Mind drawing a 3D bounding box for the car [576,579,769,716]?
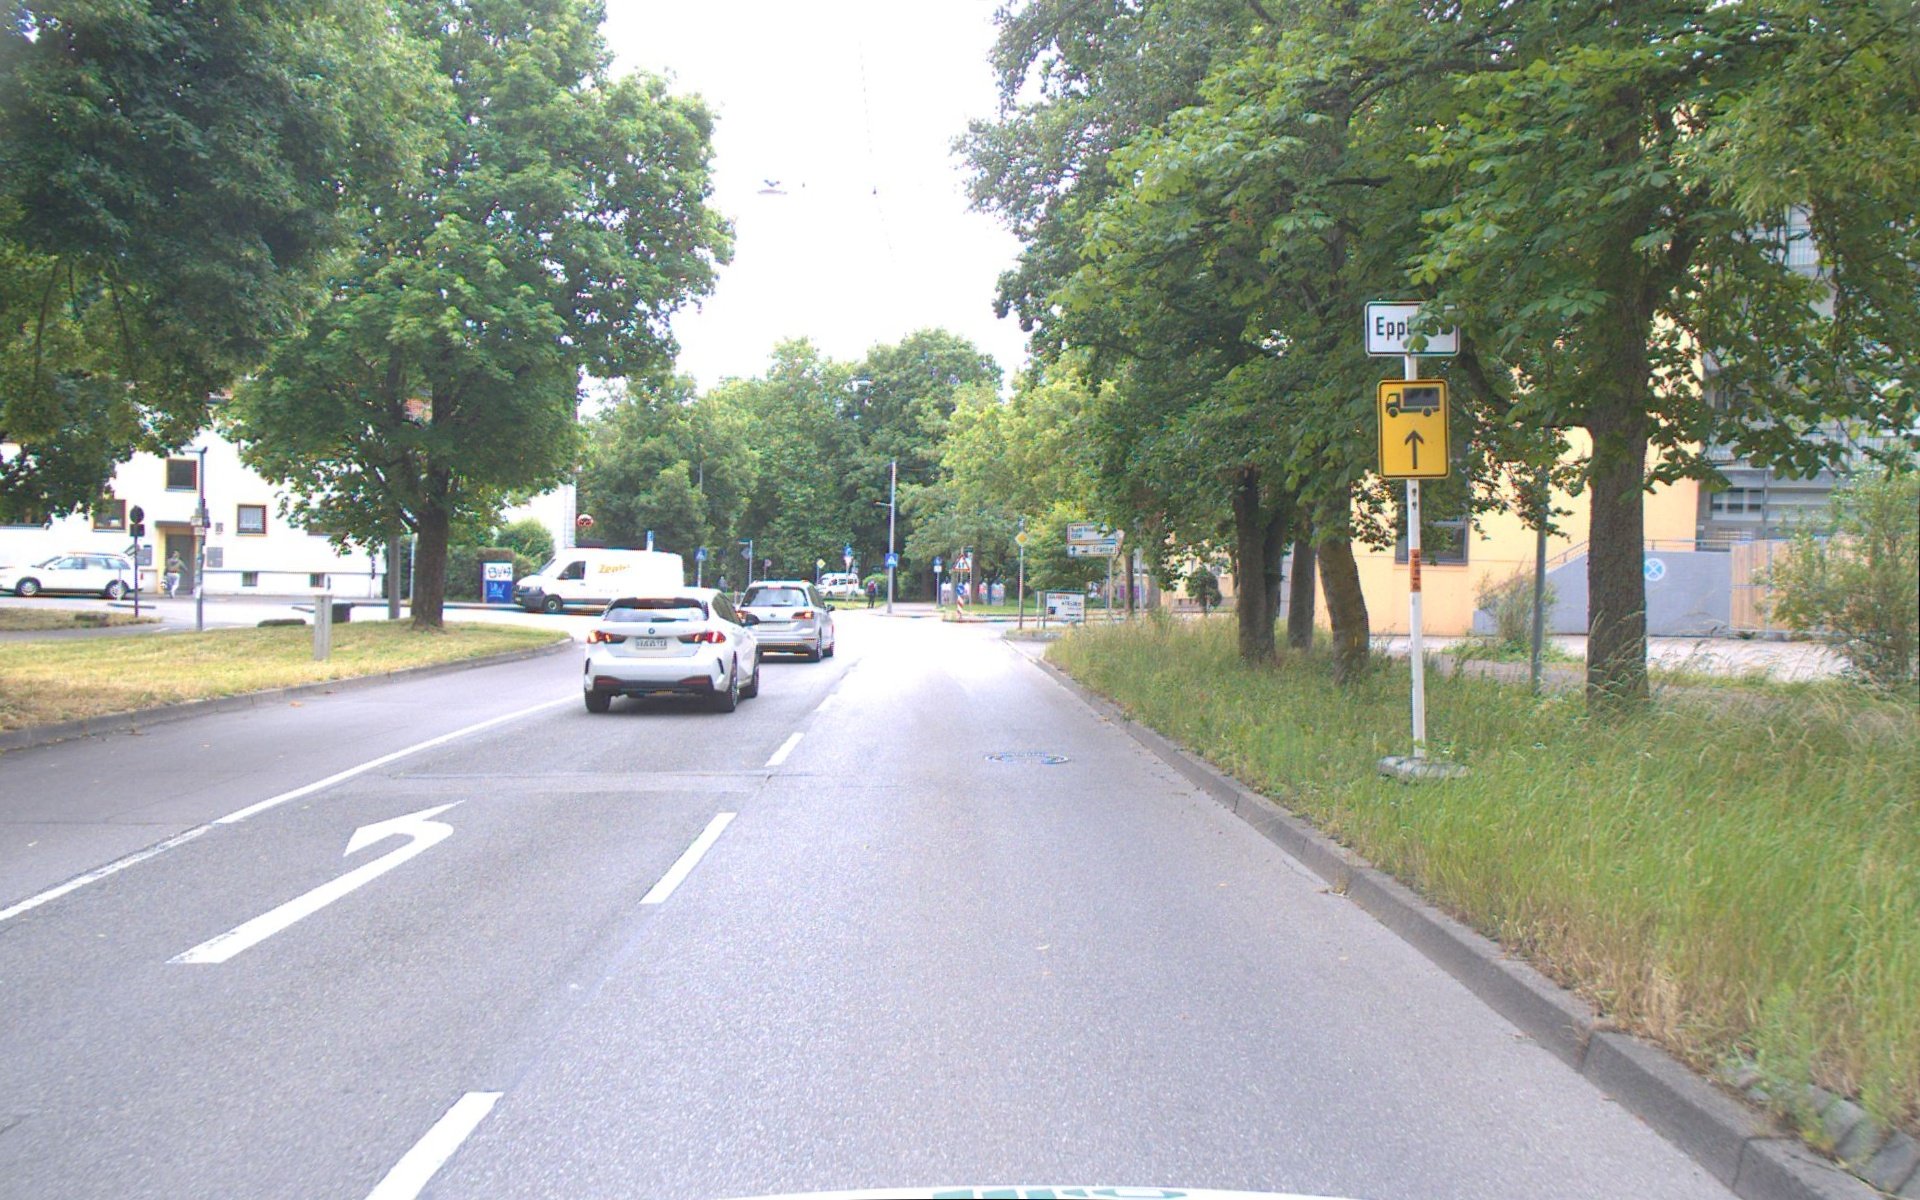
[{"bbox_3d":[-3.525,0.533,20.995,1.759,1.544,4.206,-1,0,-1],"label":"car"}]

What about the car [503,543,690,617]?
[{"bbox_3d":[-14.202,-0.755,64.968,6.910,2.565,2.057,2,2,-39],"label":"car"}]

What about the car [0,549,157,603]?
[{"bbox_3d":[-29.036,-0.786,54.513,4.278,1.464,1.697,3,2,-41],"label":"car"}]

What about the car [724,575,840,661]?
[{"bbox_3d":[-3.580,0.323,33.830,1.883,1.601,4.000,1,1,0],"label":"car"}]

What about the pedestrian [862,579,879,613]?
[{"bbox_3d":[-5.387,-0.248,99.459,0.905,1.903,1.018,-2,4,-5],"label":"pedestrian"}]

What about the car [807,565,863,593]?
[{"bbox_3d":[-11.820,-1.964,156.565,2.097,2.336,5.362,5,1,37],"label":"car"}]

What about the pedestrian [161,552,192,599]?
[{"bbox_3d":[-27.331,-0.863,57.670,0.742,1.560,0.706,3,1,-40],"label":"pedestrian"}]
